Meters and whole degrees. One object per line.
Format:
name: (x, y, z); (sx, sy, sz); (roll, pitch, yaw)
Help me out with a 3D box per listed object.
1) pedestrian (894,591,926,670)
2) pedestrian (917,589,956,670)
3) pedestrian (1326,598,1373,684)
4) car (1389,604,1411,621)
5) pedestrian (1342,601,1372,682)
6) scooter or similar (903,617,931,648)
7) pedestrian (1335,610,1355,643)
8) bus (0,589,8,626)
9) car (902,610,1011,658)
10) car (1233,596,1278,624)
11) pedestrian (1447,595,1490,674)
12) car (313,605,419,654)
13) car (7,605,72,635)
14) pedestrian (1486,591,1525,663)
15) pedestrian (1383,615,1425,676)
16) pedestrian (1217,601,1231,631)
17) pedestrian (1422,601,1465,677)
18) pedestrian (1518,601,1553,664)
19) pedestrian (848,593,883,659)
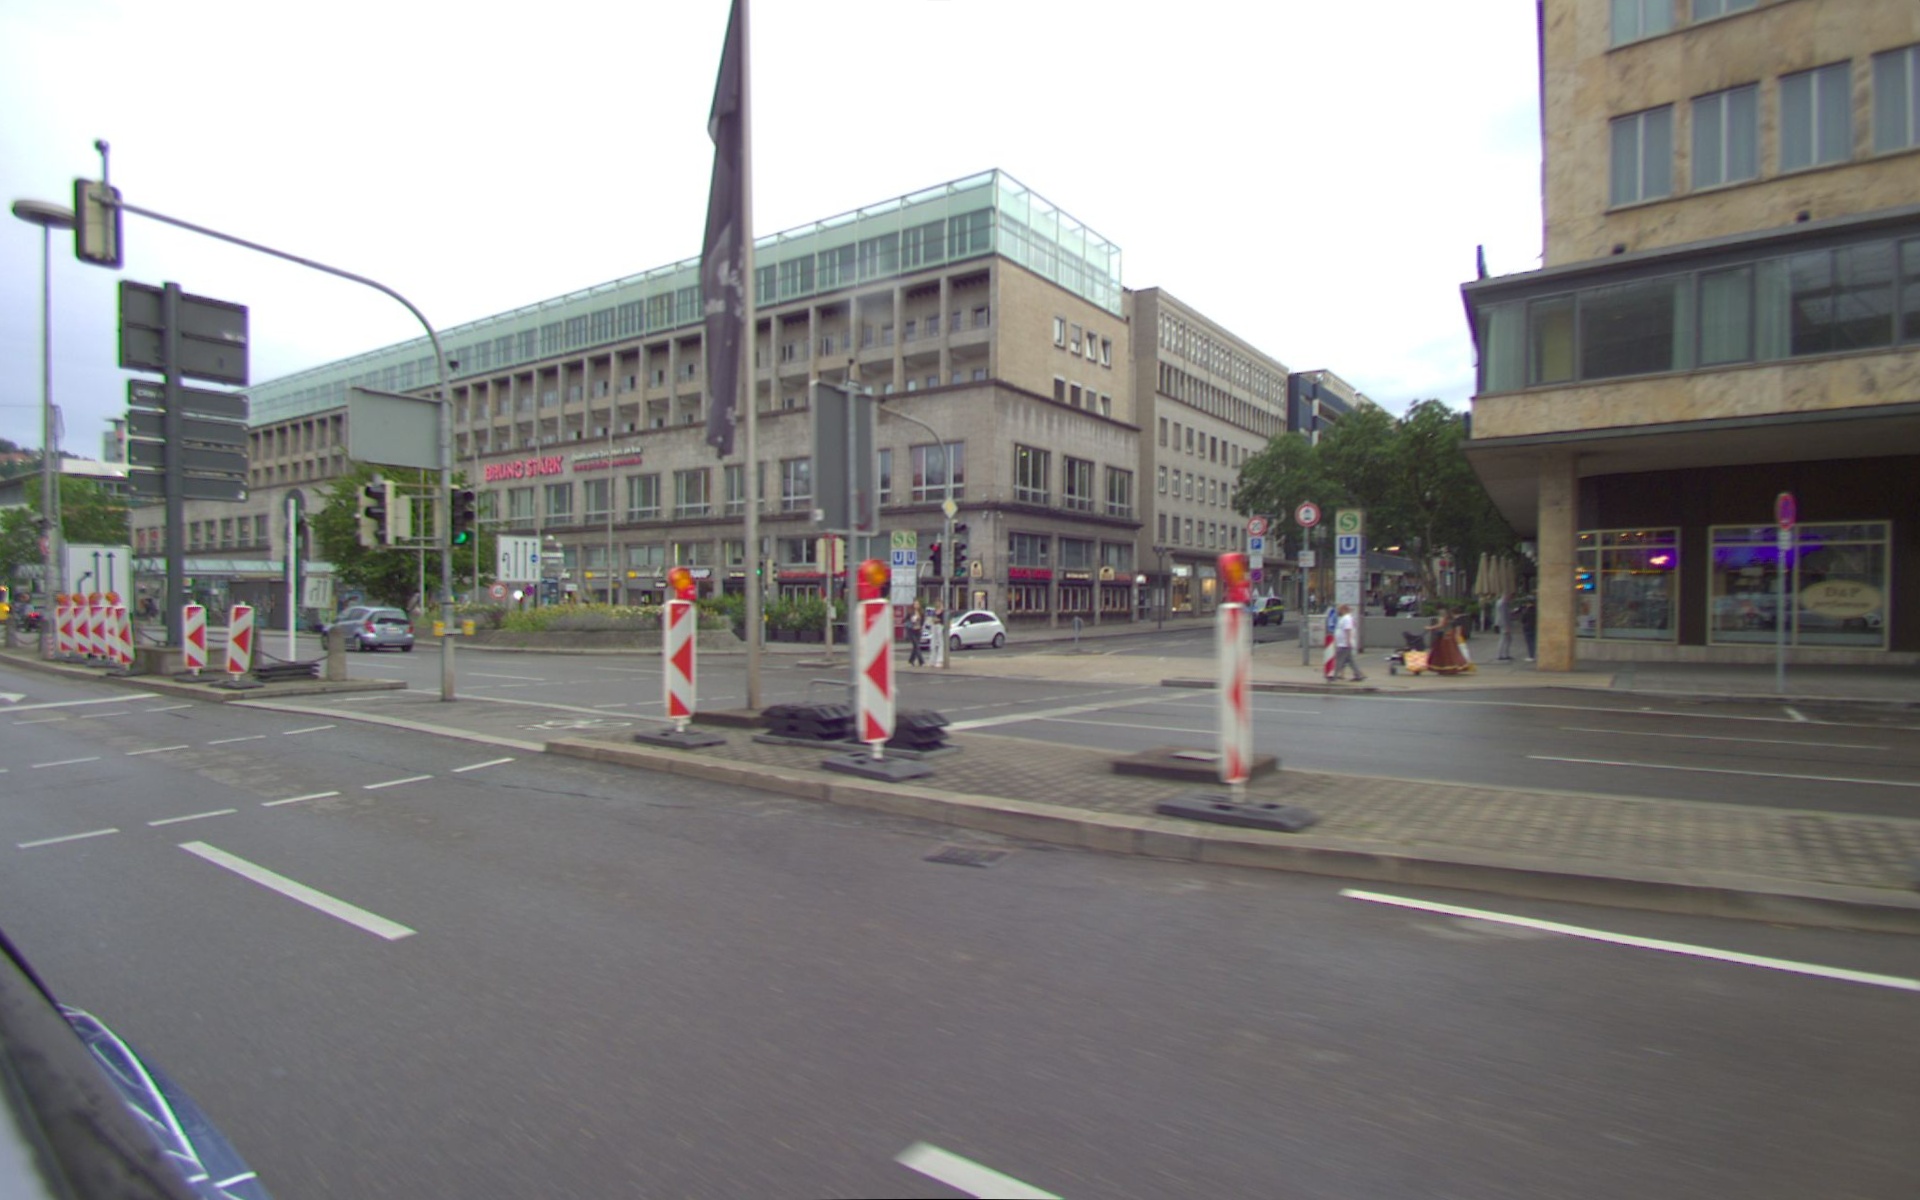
pedestrian: (-1.264, 0.747, 25.321); (0.705, 1.939, 0.593); (0, -1, -13)
pedestrian: (-0.582, 0.716, 24.808); (0.750, 1.939, 0.584); (-1, -1, 36)
pedestrian: (7.785, 0.802, 20.193); (0.785, 1.630, 0.832); (-1, 2, 26)
car: (44.691, 1.269, 102.684); (1.626, 1.618, 3.586); (-1, -1, 30)
pedestrian: (8.197, 0.848, 20.881); (0.524, 1.630, 0.447); (-1, 2, 25)
scooter or similar: (-1.718, 1.299, 40.657); (1.039, 1.253, 0.424); (0, -1, 12)
pedestrian: (16.626, 1.149, 43.714); (0.601, 1.375, 0.692); (0, 3, 38)
bus: (-81.005, 0.635, 82.520); (9.797, 2.962, 2.878); (0, -1, 34)
car: (-0.082, 1.212, 37.436); (1.805, 1.652, 4.038); (-1, -1, 41)
car: (18.972, 0.651, 64.880); (1.791, 1.741, 4.041); (-1, -1, 31)
pedestrian: (11.063, 0.735, 22.016); (0.751, 1.681, 0.558); (-1, -1, 35)
car: (-20.884, 1.002, 35.544); (3.992, 1.634, 1.739); (0, -1, 36)
car: (-52.681, 1.136, 57.897); (3.990, 1.697, 1.866); (0, -1, 34)
pedestrian: (14.660, 0.723, 27.197); (0.772, 1.889, 0.707); (-1, -1, 41)
pedestrian: (9.656, 0.982, 22.010); (0.751, 1.302, 0.558); (0, -1, 35)
pedestrian: (17.700, 1.058, 67.865); (0.704, 2.029, 0.798); (-1, -1, 35)
pedestrian: (10.441, 0.820, 21.848); (0.681, 1.604, 0.657); (-1, -1, 40)
pedestrian: (14.983, 0.840, 26.354); (0.683, 1.621, 0.617); (-1, -1, 41)
pedestrian: (-2.937, 0.793, 31.495); (0.806, 2.029, 0.697); (-1, -1, 37)
